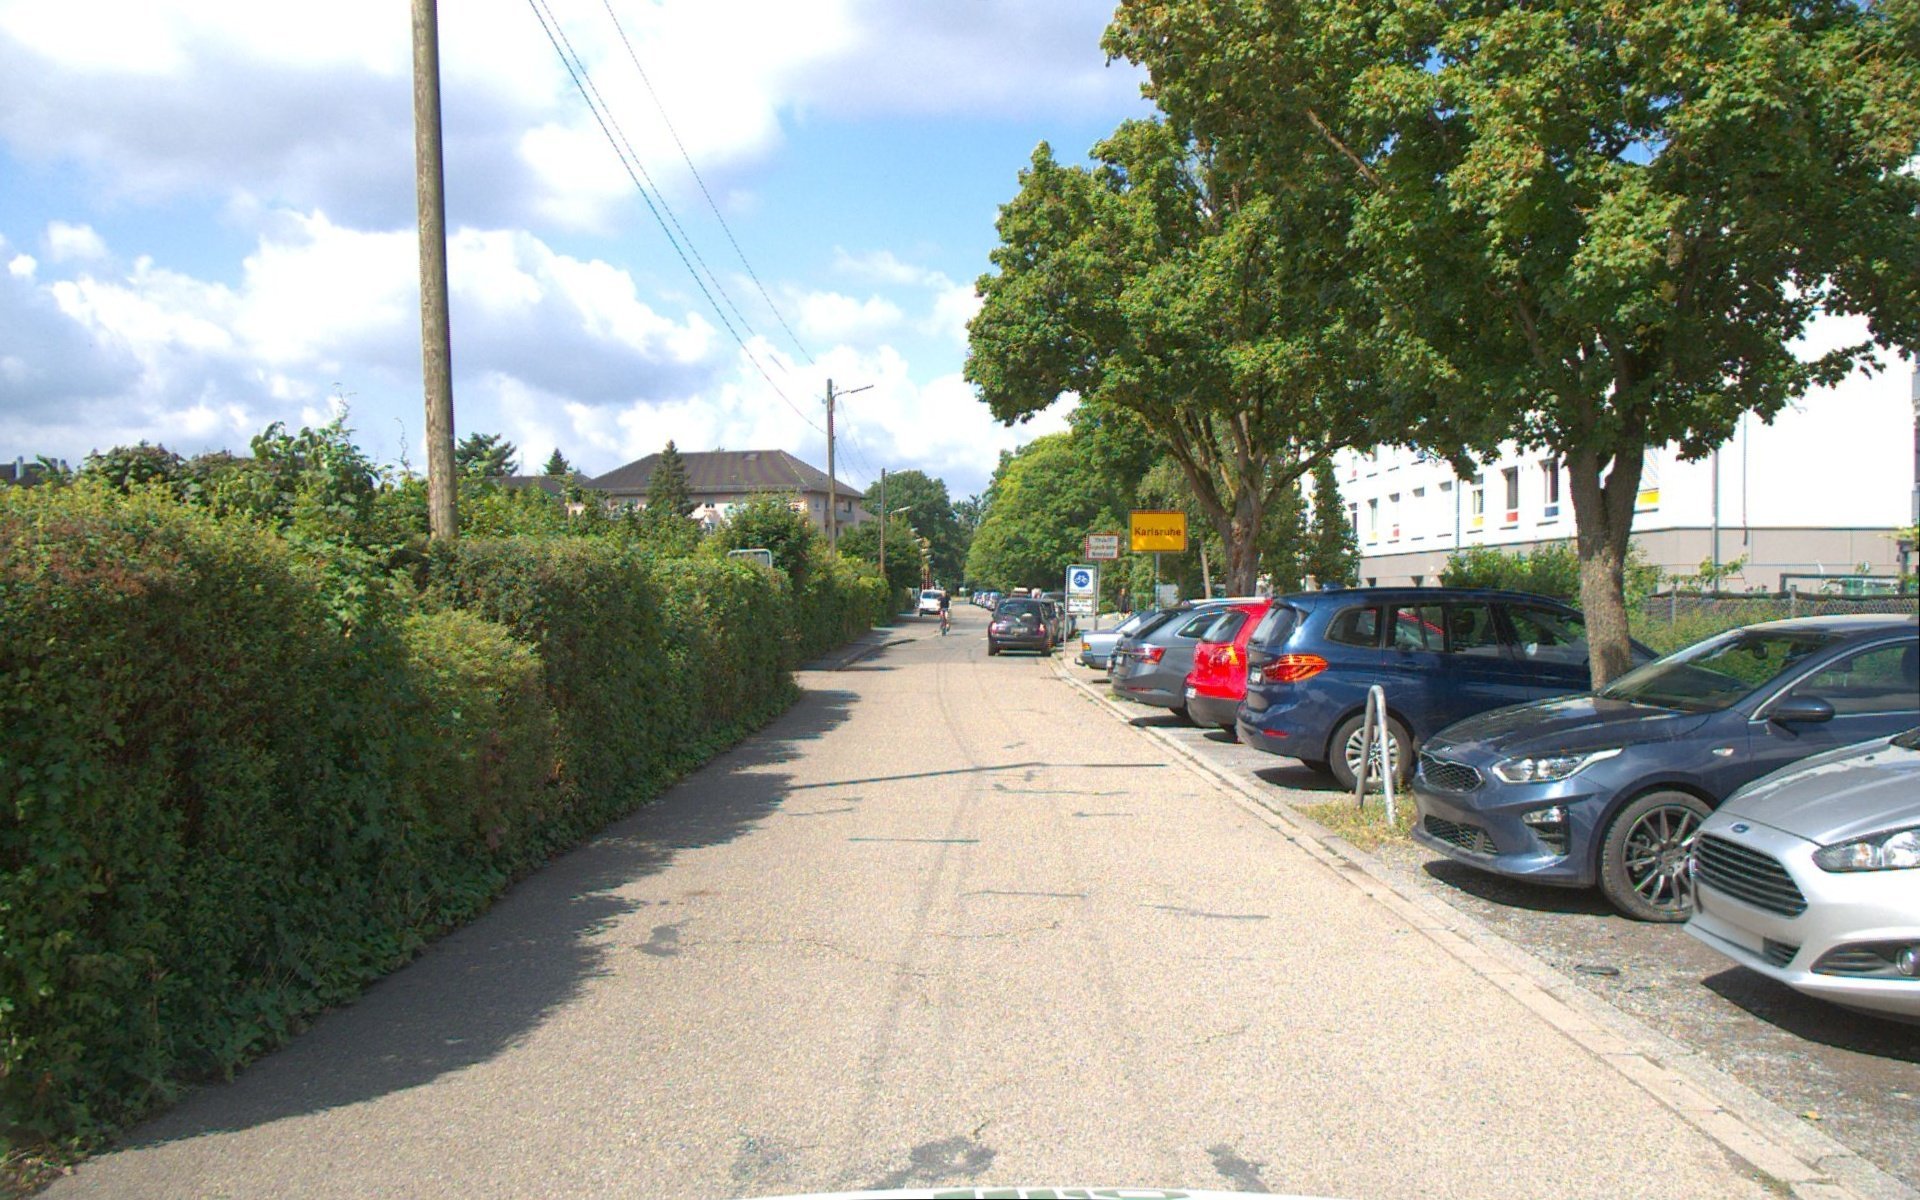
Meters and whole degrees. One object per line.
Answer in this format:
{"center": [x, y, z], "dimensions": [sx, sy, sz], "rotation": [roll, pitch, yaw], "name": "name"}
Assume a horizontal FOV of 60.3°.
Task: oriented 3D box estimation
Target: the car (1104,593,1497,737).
{"center": [4.130, 0.772, 20.535], "dimensions": [4.457, 1.606, 1.808], "rotation": [1, 0, -2], "name": "car"}

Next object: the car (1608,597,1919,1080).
{"center": [4.686, 0.797, 6.218], "dimensions": [3.735, 1.518, 1.902], "rotation": [1, 0, -1], "name": "car"}

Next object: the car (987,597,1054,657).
{"center": [1.704, 0.713, 45.374], "dimensions": [1.628, 1.532, 4.002], "rotation": [1, 0, 4], "name": "car"}

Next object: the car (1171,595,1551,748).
{"center": [4.293, 0.746, 18.128], "dimensions": [3.731, 1.559, 1.762], "rotation": [0, 0, -1], "name": "car"}

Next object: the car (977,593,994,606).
{"center": [3.192, -0.065, 208.092], "dimensions": [1.813, 1.646, 4.002], "rotation": [1, 0, 4], "name": "car"}

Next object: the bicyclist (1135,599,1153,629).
{"center": [11.290, 0.858, 101.469], "dimensions": [0.771, 1.817, 0.892], "rotation": [1, 0, 32], "name": "bicyclist"}

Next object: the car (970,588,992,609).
{"center": [2.077, -0.152, 163.365], "dimensions": [2.015, 1.996, 4.542], "rotation": [1, 0, 2], "name": "car"}

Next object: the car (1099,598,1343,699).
{"center": [4.427, 0.805, 28.446], "dimensions": [3.854, 1.587, 1.867], "rotation": [1, 0, -2], "name": "car"}

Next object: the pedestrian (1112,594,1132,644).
{"center": [5.889, 0.678, 60.053], "dimensions": [0.597, 1.776, 0.722], "rotation": [1, 0, 13], "name": "pedestrian"}

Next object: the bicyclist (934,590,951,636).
{"center": [-0.721, 0.548, 68.862], "dimensions": [0.645, 1.884, 1.043], "rotation": [-1, 0, 2], "name": "bicyclist"}

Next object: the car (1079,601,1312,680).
{"center": [4.427, 0.762, 31.555], "dimensions": [4.267, 1.416, 1.719], "rotation": [-1, 0, 4], "name": "car"}

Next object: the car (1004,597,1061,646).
{"center": [2.508, 0.714, 56.377], "dimensions": [1.628, 1.579, 3.640], "rotation": [1, 0, 7], "name": "car"}

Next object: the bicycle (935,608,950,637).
{"center": [-0.712, 0.939, 68.926], "dimensions": [0.507, 1.170, 1.827], "rotation": [-1, 0, 2], "name": "bicycle"}

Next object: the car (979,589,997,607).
{"center": [3.285, -0.258, 193.197], "dimensions": [1.953, 2.049, 3.999], "rotation": [1, 0, -1], "name": "car"}

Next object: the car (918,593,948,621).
{"center": [-1.836, 0.492, 113.722], "dimensions": [1.863, 1.846, 4.001], "rotation": [1, 0, 2], "name": "car"}

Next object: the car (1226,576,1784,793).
{"center": [4.413, 0.663, 13.876], "dimensions": [4.069, 1.666, 1.879], "rotation": [0, 0, 1], "name": "car"}

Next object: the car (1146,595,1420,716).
{"center": [4.530, 0.767, 23.527], "dimensions": [3.503, 1.576, 1.665], "rotation": [1, 0, -4], "name": "car"}

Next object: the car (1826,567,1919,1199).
{"center": [4.408, 0.782, 3.391], "dimensions": [4.215, 1.622, 2.000], "rotation": [1, 0, -1], "name": "car"}

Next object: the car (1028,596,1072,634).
{"center": [3.644, 0.607, 67.490], "dimensions": [1.629, 1.460, 3.542], "rotation": [1, 0, 1], "name": "car"}

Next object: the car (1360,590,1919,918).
{"center": [4.531, 0.763, 8.897], "dimensions": [4.247, 1.518, 1.975], "rotation": [1, 0, -1], "name": "car"}
